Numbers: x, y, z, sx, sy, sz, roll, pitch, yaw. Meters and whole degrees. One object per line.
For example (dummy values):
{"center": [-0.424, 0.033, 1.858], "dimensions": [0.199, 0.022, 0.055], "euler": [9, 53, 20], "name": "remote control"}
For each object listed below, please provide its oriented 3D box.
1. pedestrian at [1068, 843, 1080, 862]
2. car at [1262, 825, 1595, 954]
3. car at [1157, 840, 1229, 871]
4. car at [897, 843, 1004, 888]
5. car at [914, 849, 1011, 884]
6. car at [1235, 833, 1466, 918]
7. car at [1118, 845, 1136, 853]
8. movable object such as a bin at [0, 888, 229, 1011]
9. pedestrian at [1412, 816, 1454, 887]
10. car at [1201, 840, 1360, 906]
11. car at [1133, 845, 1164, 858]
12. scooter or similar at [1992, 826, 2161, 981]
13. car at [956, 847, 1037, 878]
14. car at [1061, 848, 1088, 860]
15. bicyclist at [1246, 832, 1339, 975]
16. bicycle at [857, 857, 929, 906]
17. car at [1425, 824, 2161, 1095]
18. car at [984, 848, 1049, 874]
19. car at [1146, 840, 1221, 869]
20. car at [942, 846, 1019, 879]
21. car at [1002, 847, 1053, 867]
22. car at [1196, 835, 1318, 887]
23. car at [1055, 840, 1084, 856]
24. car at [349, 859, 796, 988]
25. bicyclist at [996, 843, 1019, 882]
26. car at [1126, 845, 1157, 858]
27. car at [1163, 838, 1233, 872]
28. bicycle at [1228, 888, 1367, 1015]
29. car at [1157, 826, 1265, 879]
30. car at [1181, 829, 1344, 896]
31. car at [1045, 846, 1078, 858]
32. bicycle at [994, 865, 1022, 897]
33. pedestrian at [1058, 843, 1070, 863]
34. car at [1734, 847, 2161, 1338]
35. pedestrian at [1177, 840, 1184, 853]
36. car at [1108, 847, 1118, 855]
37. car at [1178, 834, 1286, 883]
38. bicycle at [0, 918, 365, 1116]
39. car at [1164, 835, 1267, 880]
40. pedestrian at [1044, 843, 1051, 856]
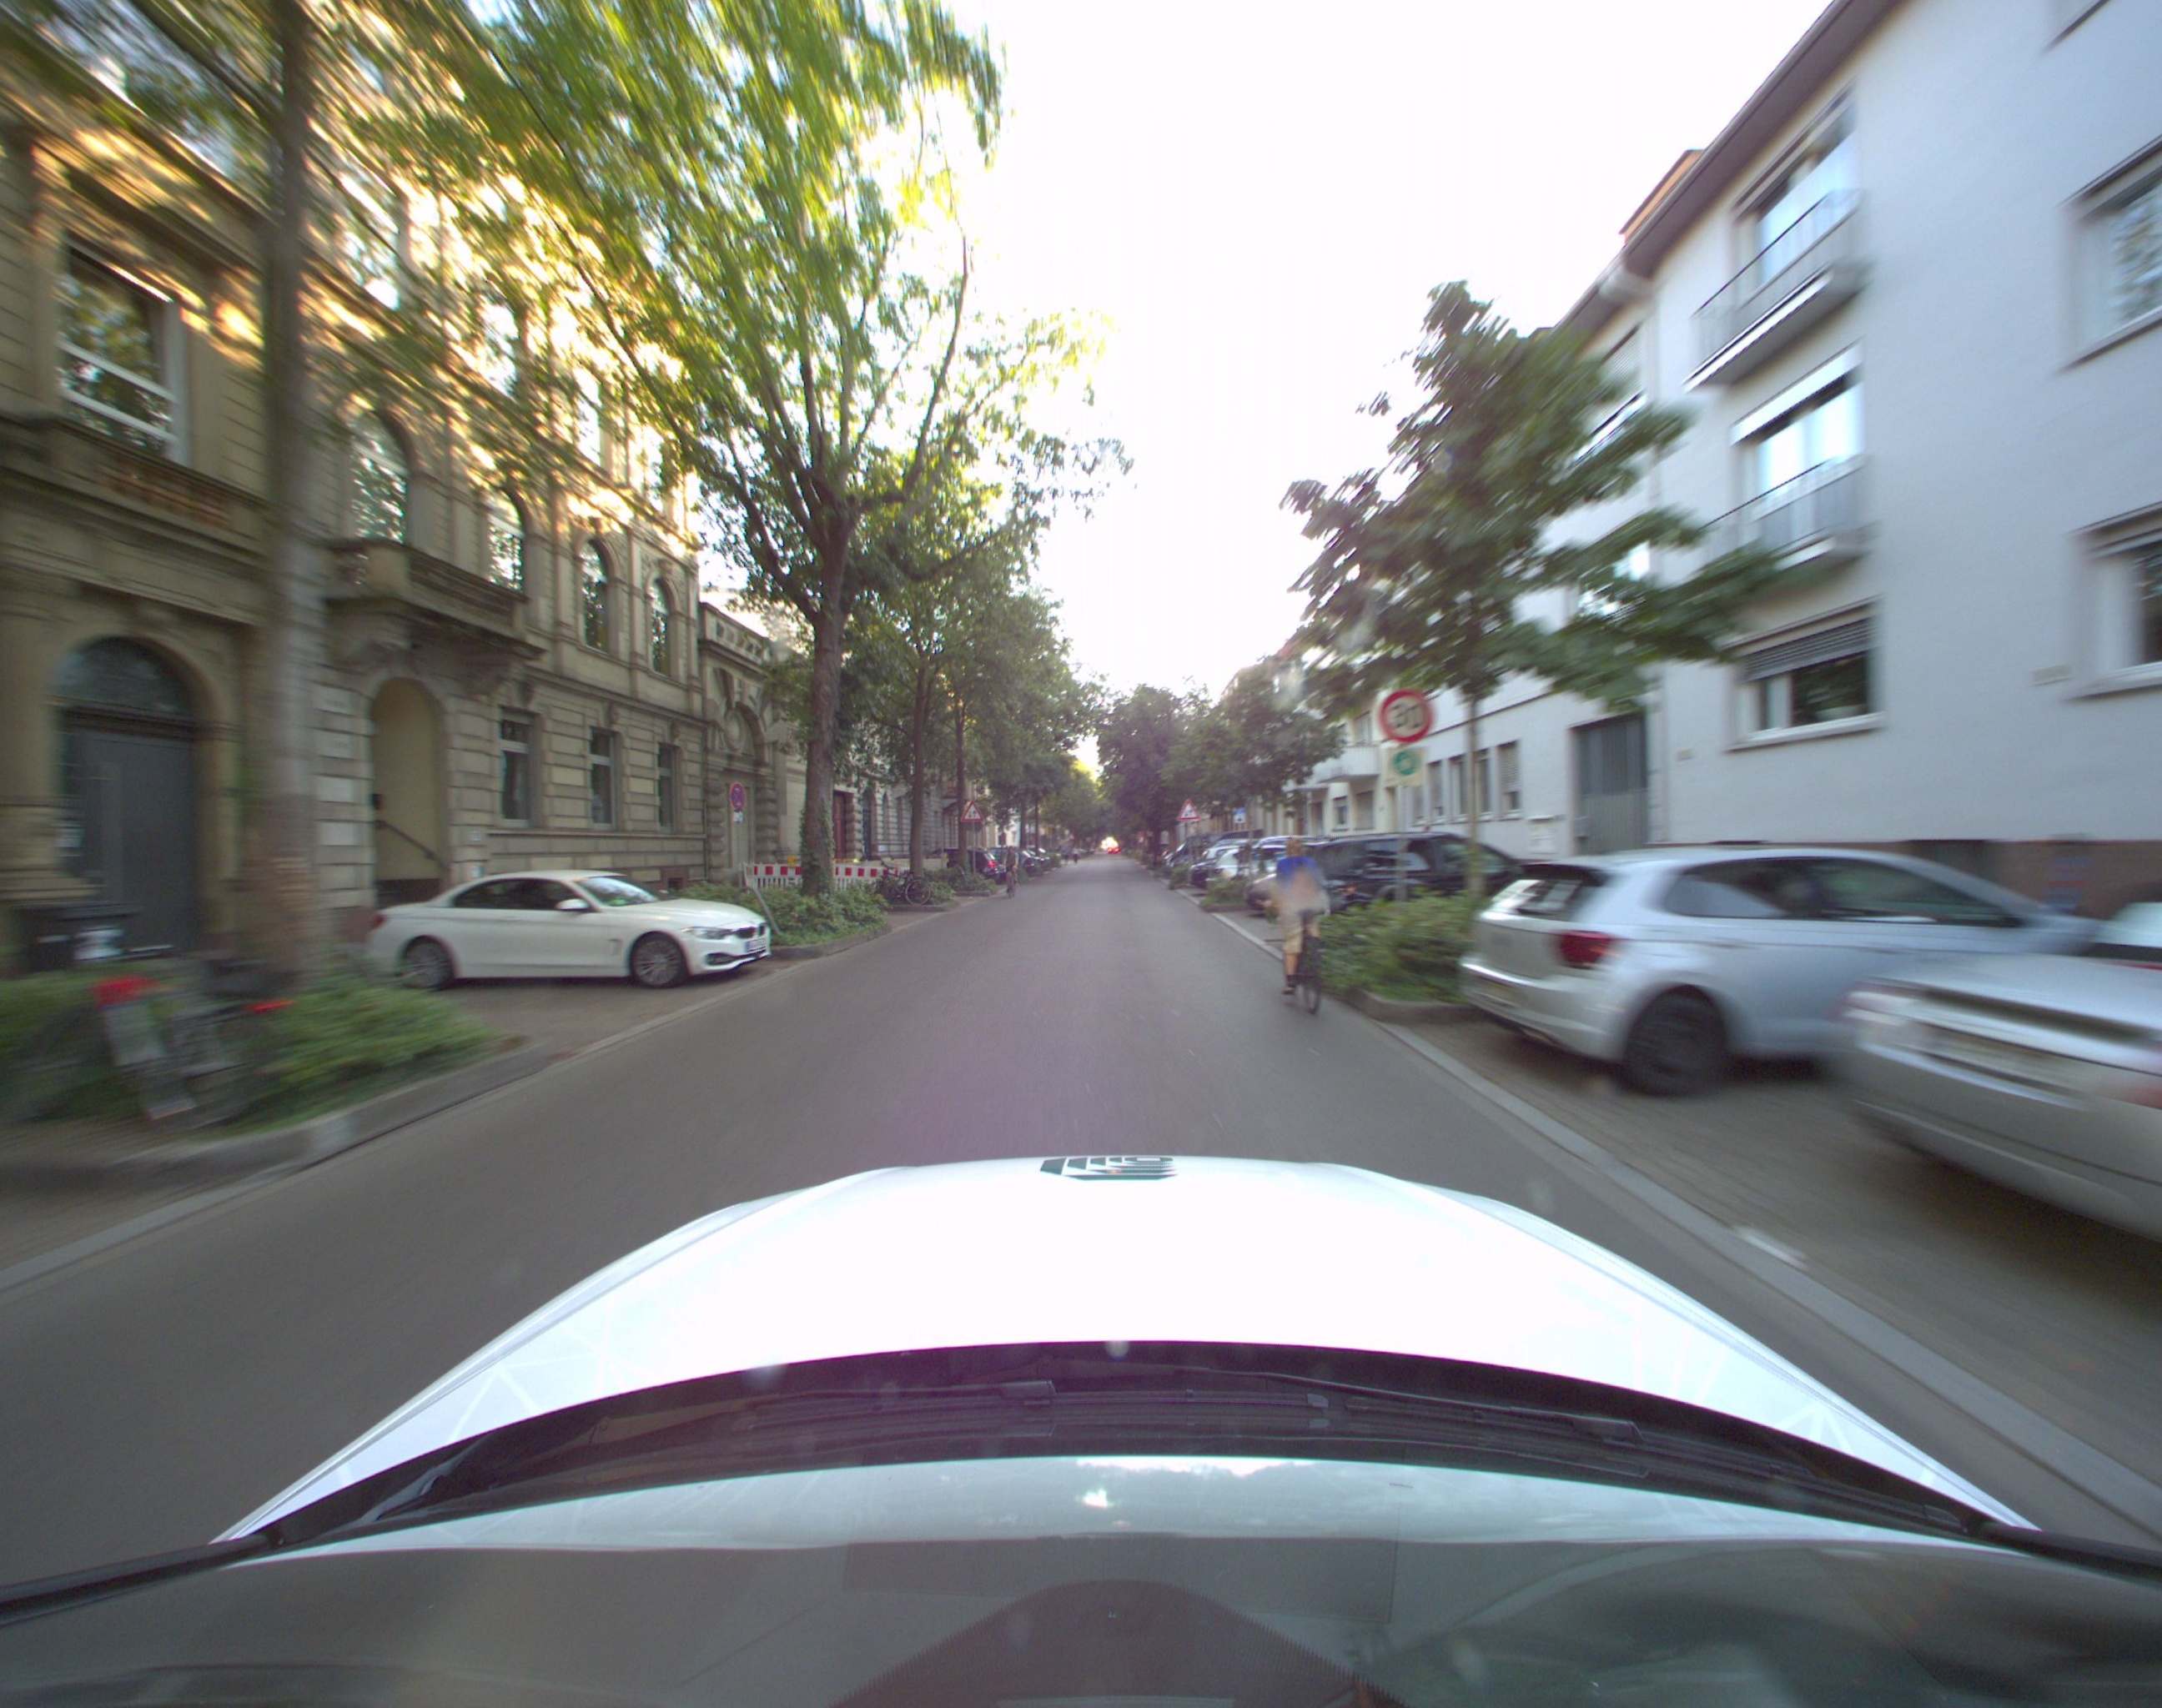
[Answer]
{"center": [-0.601, -0.103, 72.913], "dimensions": [0.796, 1.670, 0.826], "euler": [-3, 0, -17], "name": "pedestrian"}
{"center": [4.924, 0.476, 12.041], "dimensions": [4.093, 1.617, 1.962], "euler": [-2, 0, 2], "name": "car"}
{"center": [6.621, 0.099, 48.552], "dimensions": [3.974, 1.437, 1.926], "euler": [-5, 0, 0], "name": "car"}
{"center": [-5.221, 0.454, 32.916], "dimensions": [3.950, 1.596, 1.781], "euler": [2, 0, 2], "name": "car"}
{"center": [-5.231, 0.549, 36.194], "dimensions": [3.949, 1.387, 1.766], "euler": [1, 1, 2], "name": "car"}
{"center": [5.627, 0.431, 17.382], "dimensions": [4.300, 1.496, 1.794], "euler": [-3, 0, 0], "name": "car"}
{"center": [11.144, -1.172, 196.587], "dimensions": [4.252, 1.565, 1.964], "euler": [-3, 0, 1], "name": "car"}
{"center": [-9.677, 0.909, 8.196], "dimensions": [0.798, 1.061, 1.317], "euler": [0, 0, 1], "name": "movable object such as a bin"}
{"center": [9.213, -0.058, 21.349], "dimensions": [0.694, 1.795, 0.881], "euler": [-2, 0, 3], "name": "pedestrian"}
{"center": [5.587, 0.517, 23.221], "dimensions": [4.056, 1.429, 1.820], "euler": [-5, 0, 3], "name": "car"}
{"center": [8.108, -0.312, 98.199], "dimensions": [3.472, 1.452, 1.899], "euler": [-3, 0, -1], "name": "car"}
{"center": [8.899, 0.384, 7.194], "dimensions": [0.343, 1.239, 1.425], "euler": [-2, 1, 12], "name": "scooter or similar"}
{"center": [-4.662, 0.449, 45.362], "dimensions": [4.185, 1.672, 1.908], "euler": [0, 1, 2], "name": "car"}
{"center": [-1.221, 0.028, 146.154], "dimensions": [4.665, 1.854, 1.964], "euler": [-3, 0, 1], "name": "car"}
{"center": [2.111, 0.469, 8.208], "dimensions": [0.671, 1.363, 0.774], "euler": [0, 0, -7], "name": "bicyclist"}
{"center": [-4.917, 0.713, 21.329], "dimensions": [1.762, 1.232, 0.501], "euler": [-1, -1, 6], "name": "bicycle"}
{"center": [4.708, 0.596, 5.533], "dimensions": [3.971, 1.437, 1.795], "euler": [-2, 0, 2], "name": "car"}
{"center": [-4.082, 0.444, 52.258], "dimensions": [3.931, 1.532, 1.908], "euler": [-1, 0, 1], "name": "car"}
{"center": [6.381, 0.017, 51.048], "dimensions": [4.387, 1.393, 1.885], "euler": [-5, 0, -1], "name": "car"}
{"center": [-5.275, 0.427, 42.947], "dimensions": [3.788, 1.672, 1.714], "euler": [0, 1, 0], "name": "car"}
{"center": [-4.072, 0.239, 62.115], "dimensions": [3.679, 1.458, 1.873], "euler": [0, 1, 1], "name": "car"}
{"center": [6.066, 0.227, 28.334], "dimensions": [3.780, 1.423, 1.698], "euler": [-5, 0, 0], "name": "car"}
{"center": [-1.836, -1.023, 133.730], "dimensions": [4.665, 2.478, 2.001], "euler": [-1, 0, 1], "name": "car"}
{"center": [-6.251, 0.819, 10.375], "dimensions": [4.493, 1.390, 1.918], "euler": [-1, 0, 3], "name": "car"}
{"center": [-2.445, 0.279, 27.144], "dimensions": [0.669, 1.263, 0.648], "euler": [-2, 0, 2], "name": "bicyclist"}
{"center": [9.316, -0.389, 124.987], "dimensions": [4.697, 1.710, 1.952], "euler": [-1, 1, 3], "name": "car"}
{"center": [6.549, 0.055, 45.932], "dimensions": [3.666, 1.578, 1.715], "euler": [-5, 0, 2], "name": "car"}
{"center": [2.107, 0.901, 8.215], "dimensions": [0.671, 1.030, 1.972], "euler": [0, 0, -7], "name": "bicycle"}
{"center": [6.062, -0.086, 38.516], "dimensions": [4.673, 2.011, 2.038], "euler": [-5, 0, 1], "name": "car"}
{"center": [5.580, 0.251, 25.448], "dimensions": [4.575, 1.578, 1.944], "euler": [-5, 0, 0], "name": "car"}
{"center": [-2.436, -0.296, 104.504], "dimensions": [4.113, 1.486, 1.930], "euler": [-1, 0, 1], "name": "car"}
{"center": [-2.420, 0.884, 27.173], "dimensions": [0.669, 0.993, 1.759], "euler": [-2, 1, 2], "name": "bicycle"}
{"center": [-1.482, -0.076, 72.798], "dimensions": [0.796, 1.737, 0.826], "euler": [-3, 0, -17], "name": "pedestrian"}
{"center": [5.113, 0.641, 2.942], "dimensions": [3.968, 1.332, 1.797], "euler": [-2, 1, 5], "name": "car"}
{"center": [11.603, -0.858, 95.280], "dimensions": [0.652, 1.536, 0.832], "euler": [-3, 0, 3], "name": "pedestrian"}
{"center": [6.462, -0.636, 165.776], "dimensions": [1.949, 1.565, 4.284], "euler": [-3, 0, 2], "name": "car"}
{"center": [6.036, 0.186, 32.850], "dimensions": [3.952, 1.578, 1.852], "euler": [-5, 0, 0], "name": "car"}
{"center": [-5.273, 0.906, 4.687], "dimensions": [1.787, 1.009, 0.599], "euler": [-1, 0, 2], "name": "bicycle"}
{"center": [5.877, 0.138, 35.897], "dimensions": [4.142, 1.578, 1.970], "euler": [-5, 0, 0], "name": "car"}
{"center": [-4.752, -0.660, 115.142], "dimensions": [0.697, 1.757, 0.744], "euler": [-2, 0, 25], "name": "pedestrian"}
